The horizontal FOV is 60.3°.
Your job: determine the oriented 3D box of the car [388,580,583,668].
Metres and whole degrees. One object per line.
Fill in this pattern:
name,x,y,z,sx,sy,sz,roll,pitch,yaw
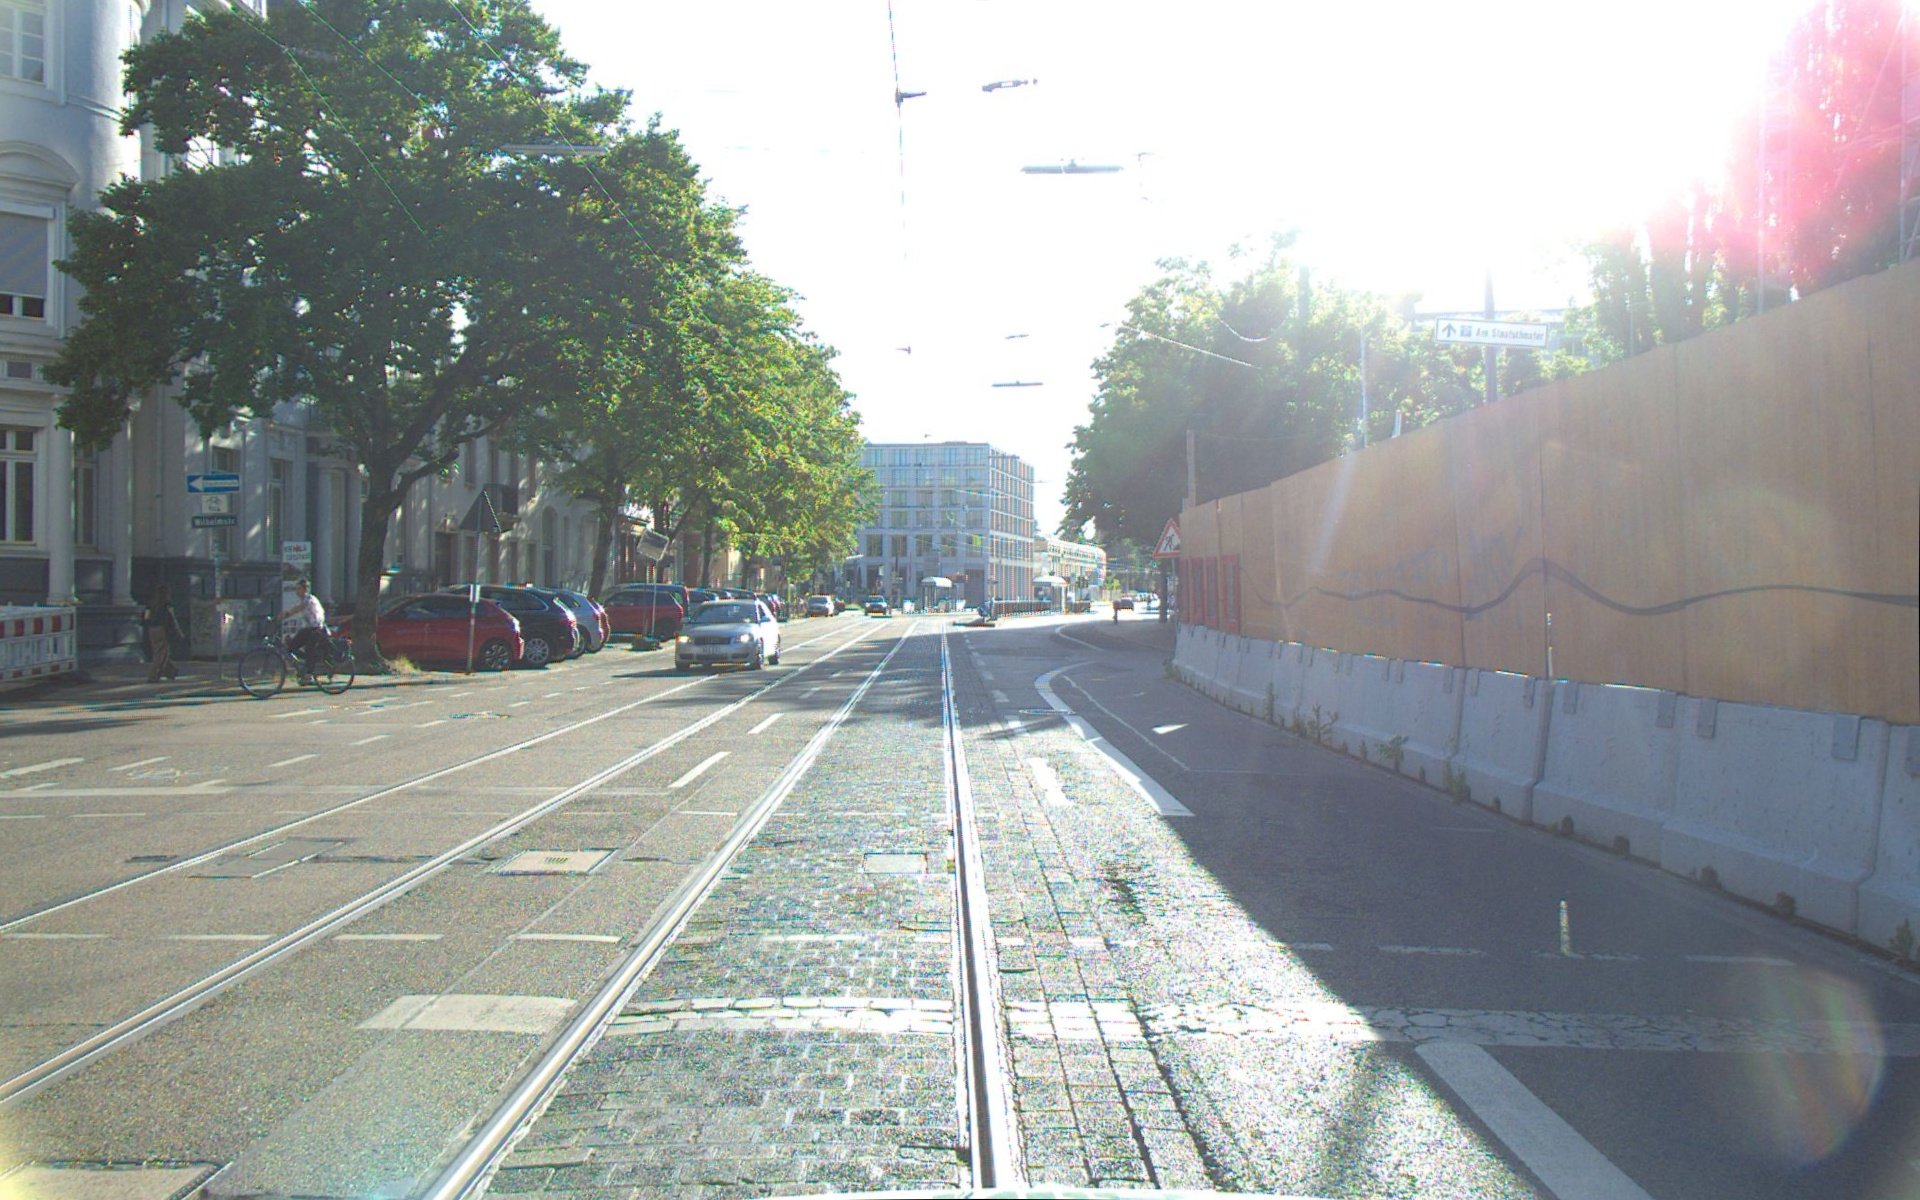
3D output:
car,-9.962,0.469,34.797,3.645,1.751,1.591,0,0,-36

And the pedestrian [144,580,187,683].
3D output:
pedestrian,-12.553,0.489,26.134,0.338,1.600,0.511,0,0,27

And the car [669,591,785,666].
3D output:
car,-4.802,0.553,34.647,1.673,1.461,4.172,0,0,2

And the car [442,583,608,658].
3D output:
car,-10.592,0.468,40.356,3.645,1.751,1.591,0,0,-36

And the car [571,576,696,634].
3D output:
car,-11.095,0.178,56.258,3.789,1.864,1.714,2,-1,-31

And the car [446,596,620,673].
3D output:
car,-9.753,0.747,37.846,3.523,1.691,1.717,0,0,-34

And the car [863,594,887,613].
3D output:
car,-6.995,0.280,136.869,1.525,1.557,4.002,0,0,3

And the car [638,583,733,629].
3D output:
car,-10.463,0.235,63.026,3.335,1.727,1.392,1,0,-29

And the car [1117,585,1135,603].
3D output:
car,19.213,-0.690,191.130,1.951,2.049,4.003,0,0,7

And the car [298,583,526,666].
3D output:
car,-10.512,0.480,31.826,3.867,1.478,1.619,2,-1,-35

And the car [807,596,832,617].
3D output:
car,-10.141,0.462,119.652,1.540,1.516,4.000,0,0,0

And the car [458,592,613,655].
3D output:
car,-10.979,0.573,42.869,3.645,1.554,1.465,0,0,-36

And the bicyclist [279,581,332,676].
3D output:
bicyclist,-9.817,0.415,24.797,0.634,1.402,0.452,0,0,-40

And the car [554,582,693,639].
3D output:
car,-10.819,0.340,53.194,4.112,1.751,1.569,1,0,-28

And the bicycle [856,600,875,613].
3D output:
bicycle,-8.790,0.596,153.737,1.760,1.245,0.598,0,0,-9

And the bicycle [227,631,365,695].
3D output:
bicycle,-9.904,0.924,24.733,1.883,0.896,0.444,0,0,-40
